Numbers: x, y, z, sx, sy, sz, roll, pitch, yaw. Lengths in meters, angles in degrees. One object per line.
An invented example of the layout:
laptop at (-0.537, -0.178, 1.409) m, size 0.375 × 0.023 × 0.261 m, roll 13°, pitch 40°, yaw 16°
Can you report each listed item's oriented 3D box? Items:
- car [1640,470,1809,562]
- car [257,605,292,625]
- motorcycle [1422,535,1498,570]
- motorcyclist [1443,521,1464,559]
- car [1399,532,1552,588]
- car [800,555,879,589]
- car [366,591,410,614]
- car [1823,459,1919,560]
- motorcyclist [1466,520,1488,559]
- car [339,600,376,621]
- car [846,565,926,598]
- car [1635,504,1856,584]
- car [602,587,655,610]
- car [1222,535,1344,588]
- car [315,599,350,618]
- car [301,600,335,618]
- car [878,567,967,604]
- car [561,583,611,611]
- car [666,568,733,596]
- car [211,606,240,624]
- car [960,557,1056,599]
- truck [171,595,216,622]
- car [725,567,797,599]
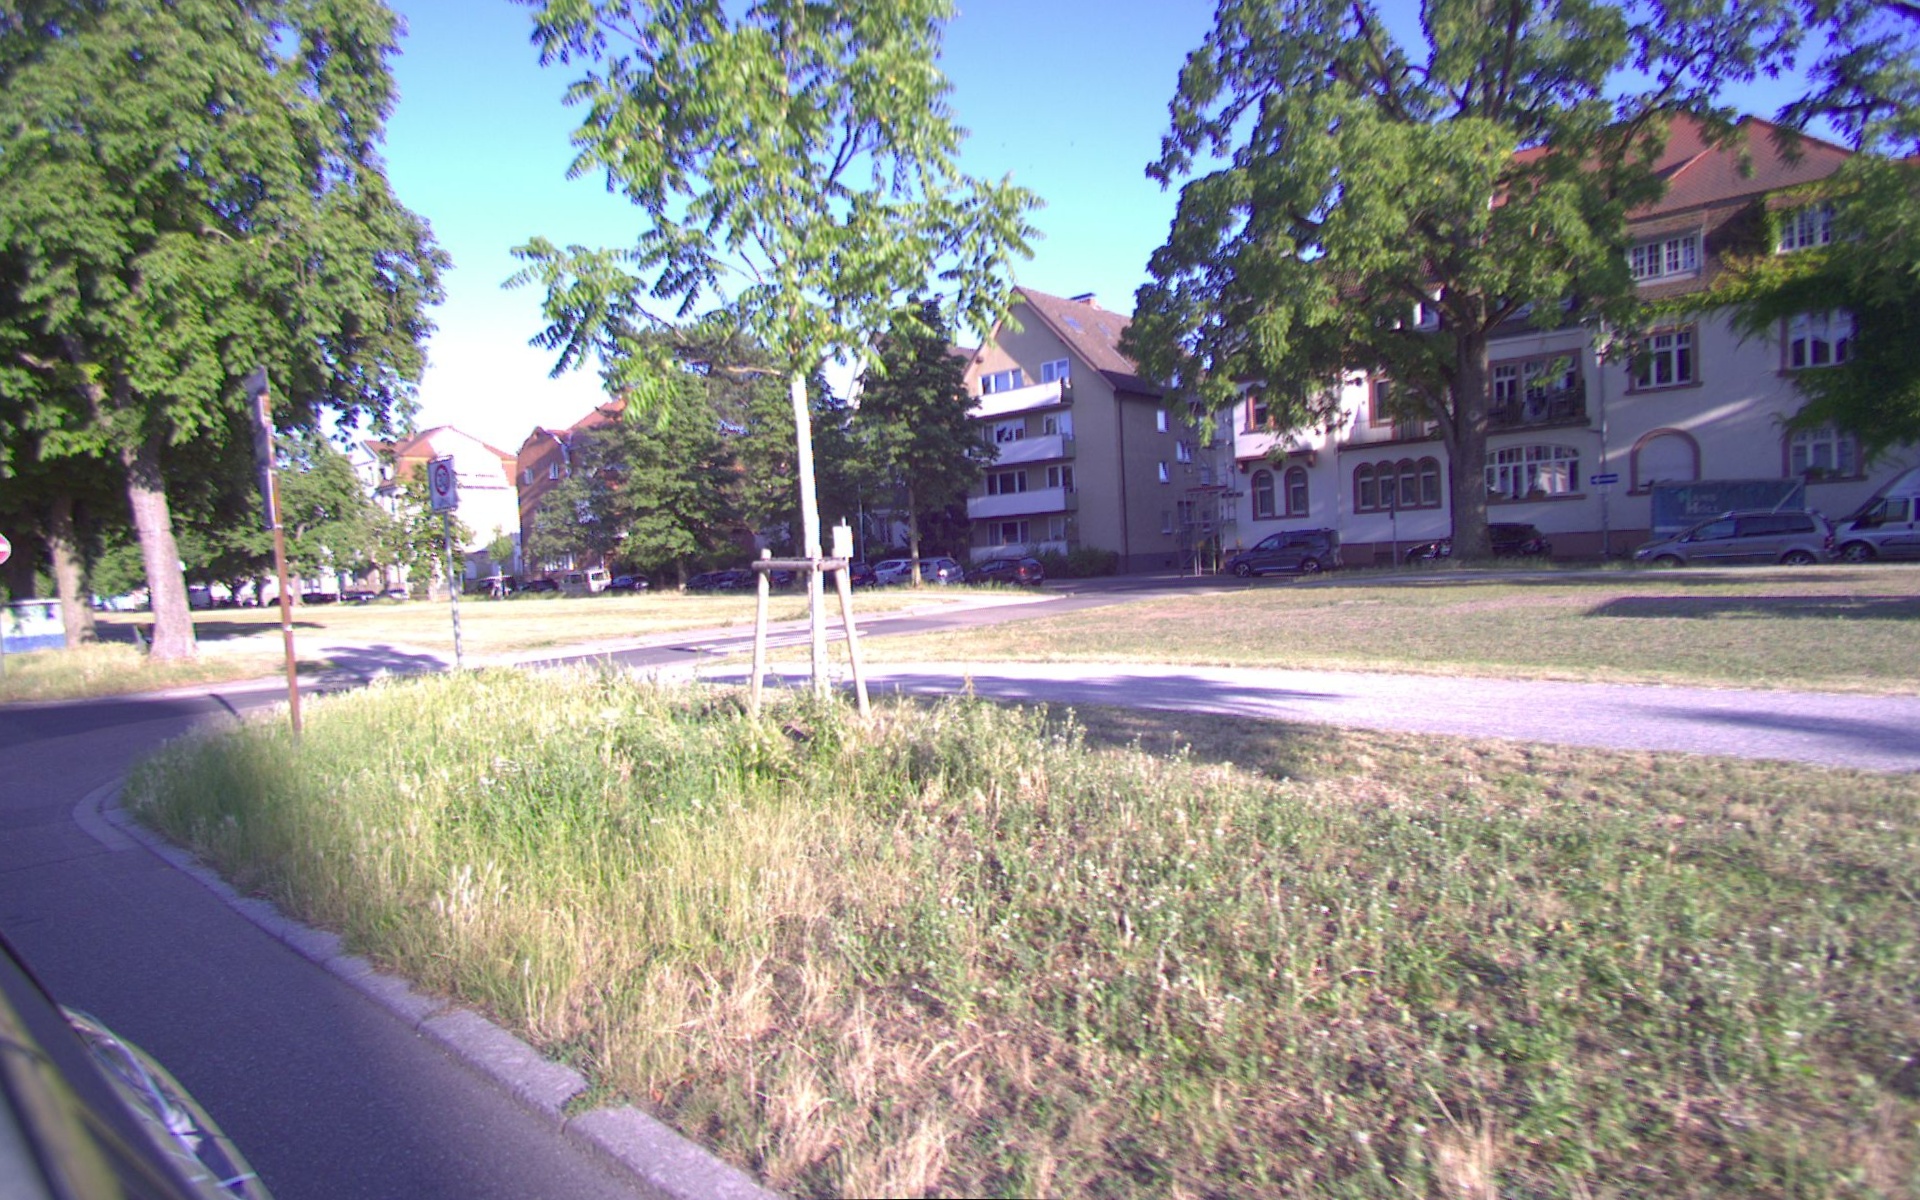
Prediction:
car at (23.327, -2.516, 30.957) m, size 3.998 × 2.559 × 1.973 m, roll 1°, pitch 5°, yaw 41°
car at (-72.680, 1.536, 107.271) m, size 3.996 × 2.029 × 2.099 m, roll 0°, pitch 1°, yaw 40°
motorcycle at (15.943, -1.523, 32.298) m, size 2.101 × 0.964 × 0.561 m, roll -3°, pitch 3°, yaw 29°
motorcyclist at (15.839, -1.924, 32.484) m, size 0.572 × 1.158 × 0.744 m, roll -2°, pitch 3°, yaw 27°
car at (18.207, -1.392, 35.852) m, size 4.441 × 1.673 × 1.909 m, roll -2°, pitch 3°, yaw 41°
car at (-5.780, -1.350, 48.538) m, size 3.636 × 1.378 × 1.542 m, roll -2°, pitch 3°, yaw 37°
car at (-49.243, 0.229, 87.076) m, size 3.998 × 1.715 × 1.973 m, roll -2°, pitch 3°, yaw 41°
car at (27.006, -2.486, 27.777) m, size 5.042 × 2.659 × 1.925 m, roll 0°, pitch 1°, yaw 41°
motorcyclist at (16.368, -1.922, 32.055) m, size 0.572 × 1.158 × 0.744 m, roll -2°, pitch 3°, yaw 27°
car at (-63.520, 1.090, 106.733) m, size 3.995 × 1.920 × 1.975 m, roll -2°, pitch 3°, yaw 38°
car at (-4.031, -0.976, 54.870) m, size 3.993 × 1.510 × 1.976 m, roll -2°, pitch 3°, yaw 37°
car at (20.191, -1.420, 26.175) m, size 4.341 × 1.741 × 1.974 m, roll -2°, pitch 3°, yaw 40°
car at (-23.658, -0.121, 72.185) m, size 4.001 × 1.617 × 1.971 m, roll 0°, pitch 1°, yaw 44°
car at (12.777, -1.515, 40.141) m, size 4.281 × 1.838 × 1.605 m, roll -2°, pitch 3°, yaw 37°
car at (-68.227, 0.896, 110.013) m, size 3.995 × 1.896 × 1.974 m, roll 0°, pitch 1°, yaw 38°
car at (-72.262, 0.981, 113.866) m, size 3.995 × 1.859 × 1.974 m, roll 0°, pitch 1°, yaw 38°
car at (-1.675, -0.648, 44.956) m, size 3.636 × 1.418 × 1.672 m, roll -2°, pitch 3°, yaw 37°
car at (-28.118, -0.231, 76.119) m, size 4.001 × 2.029 × 1.971 m, roll 1°, pitch 0°, yaw 44°
car at (-14.403, -0.977, 55.887) m, size 3.636 × 1.340 × 1.542 m, roll -2°, pitch 3°, yaw 37°
car at (-87.675, 1.807, 120.740) m, size 4.001 × 2.028 × 1.972 m, roll -2°, pitch 3°, yaw 44°
car at (1.961, -0.914, 42.303) m, size 1.868 × 1.533 × 3.683 m, roll -5°, pitch 3°, yaw -43°
truck at (-99.428, 1.112, 131.247) m, size 7.703 × 3.169 × 2.751 m, roll -2°, pitch 2°, yaw 40°
car at (-10.362, -0.877, 52.569) m, size 3.636 × 1.426 × 1.542 m, roll -2°, pitch 3°, yaw 37°
